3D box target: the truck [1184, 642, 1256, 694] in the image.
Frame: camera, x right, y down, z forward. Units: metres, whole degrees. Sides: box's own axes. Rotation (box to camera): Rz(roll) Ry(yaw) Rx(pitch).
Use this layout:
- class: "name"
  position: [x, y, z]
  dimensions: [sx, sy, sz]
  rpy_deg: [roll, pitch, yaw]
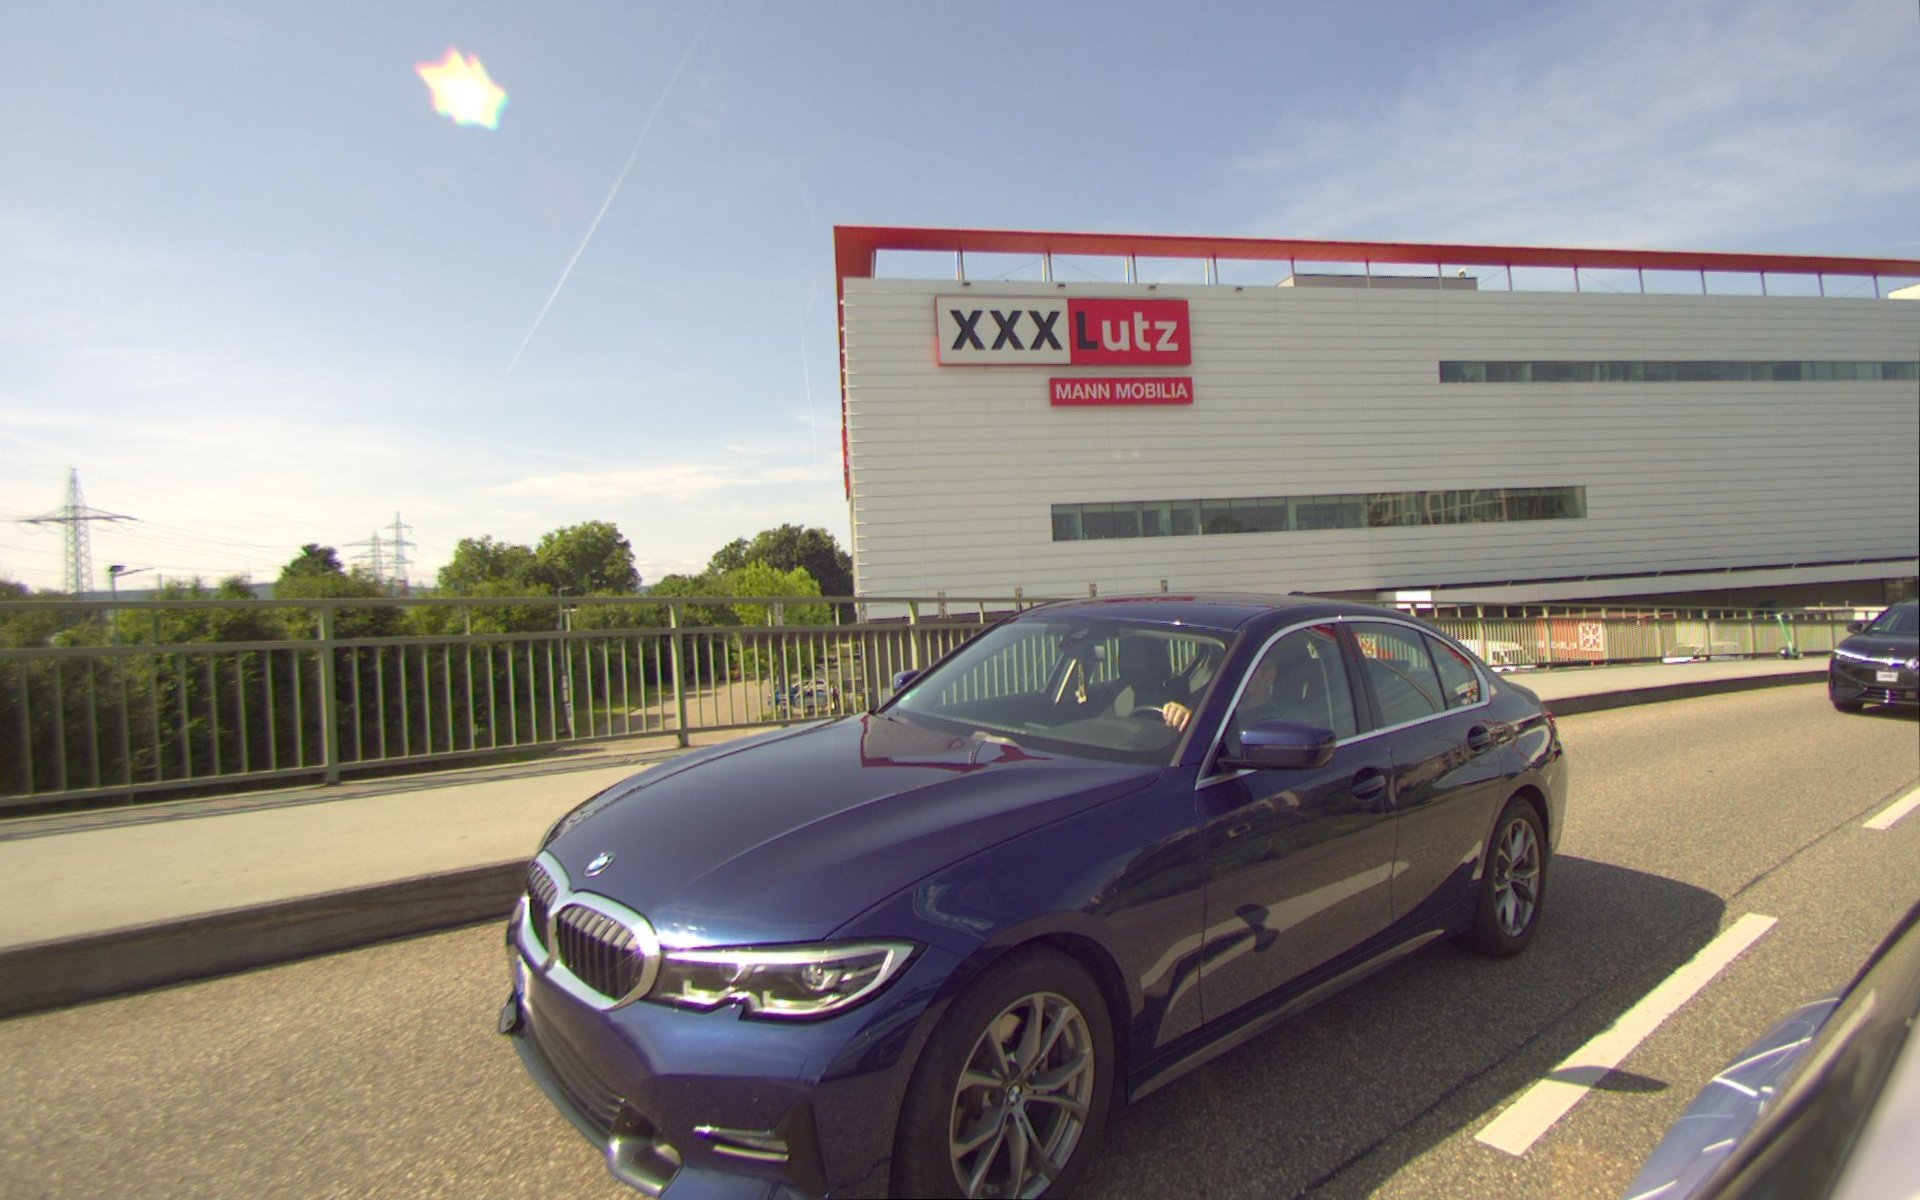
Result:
- class: "truck"
  position: [16.934, 4.376, 66.402]
  dimensions: [2.088, 2.964, 6.021]
  rpy_deg: [-3, 0, -10]

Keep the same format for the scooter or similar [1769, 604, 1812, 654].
- class: "scooter or similar"
  position: [19.997, 0.690, 24.363]
  dimensions: [1.455, 1.157, 0.512]
  rpy_deg: [0, -2, -40]

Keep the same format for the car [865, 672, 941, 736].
- class: "car"
  position: [-3.285, 5.737, 56.697]
  dimensions: [2.088, 2.964, 6.020]
  rpy_deg: [-3, 0, -25]

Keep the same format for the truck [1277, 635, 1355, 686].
- class: "truck"
  position: [23.834, 3.986, 67.998]
  dimensions: [2.088, 2.964, 6.021]
  rpy_deg: [-3, 0, -10]

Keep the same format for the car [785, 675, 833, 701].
- class: "car"
  position: [-12.214, 7.134, 82.270]
  dimensions: [3.748, 1.658, 1.810]
  rpy_deg: [-3, 1, -7]

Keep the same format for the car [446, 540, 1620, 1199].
- class: "car"
  position: [0.711, 0.618, 3.867]
  dimensions: [4.442, 1.502, 1.790]
  rpy_deg: [-4, 0, -40]

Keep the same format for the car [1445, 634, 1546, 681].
- class: "car"
  position: [34.046, 3.607, 64.572]
  dimensions: [2.088, 2.654, 6.022]
  rpy_deg: [-3, 0, -13]

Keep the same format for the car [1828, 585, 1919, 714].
- class: "car"
  position: [13.369, 0.616, 13.457]
  dimensions: [4.066, 1.548, 1.862]
  rpy_deg: [0, 2, -36]

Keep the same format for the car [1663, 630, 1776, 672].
- class: "car"
  position: [46.208, 3.066, 61.598]
  dimensions: [5.888, 2.029, 2.136]
  rpy_deg: [-3, 1, -13]
